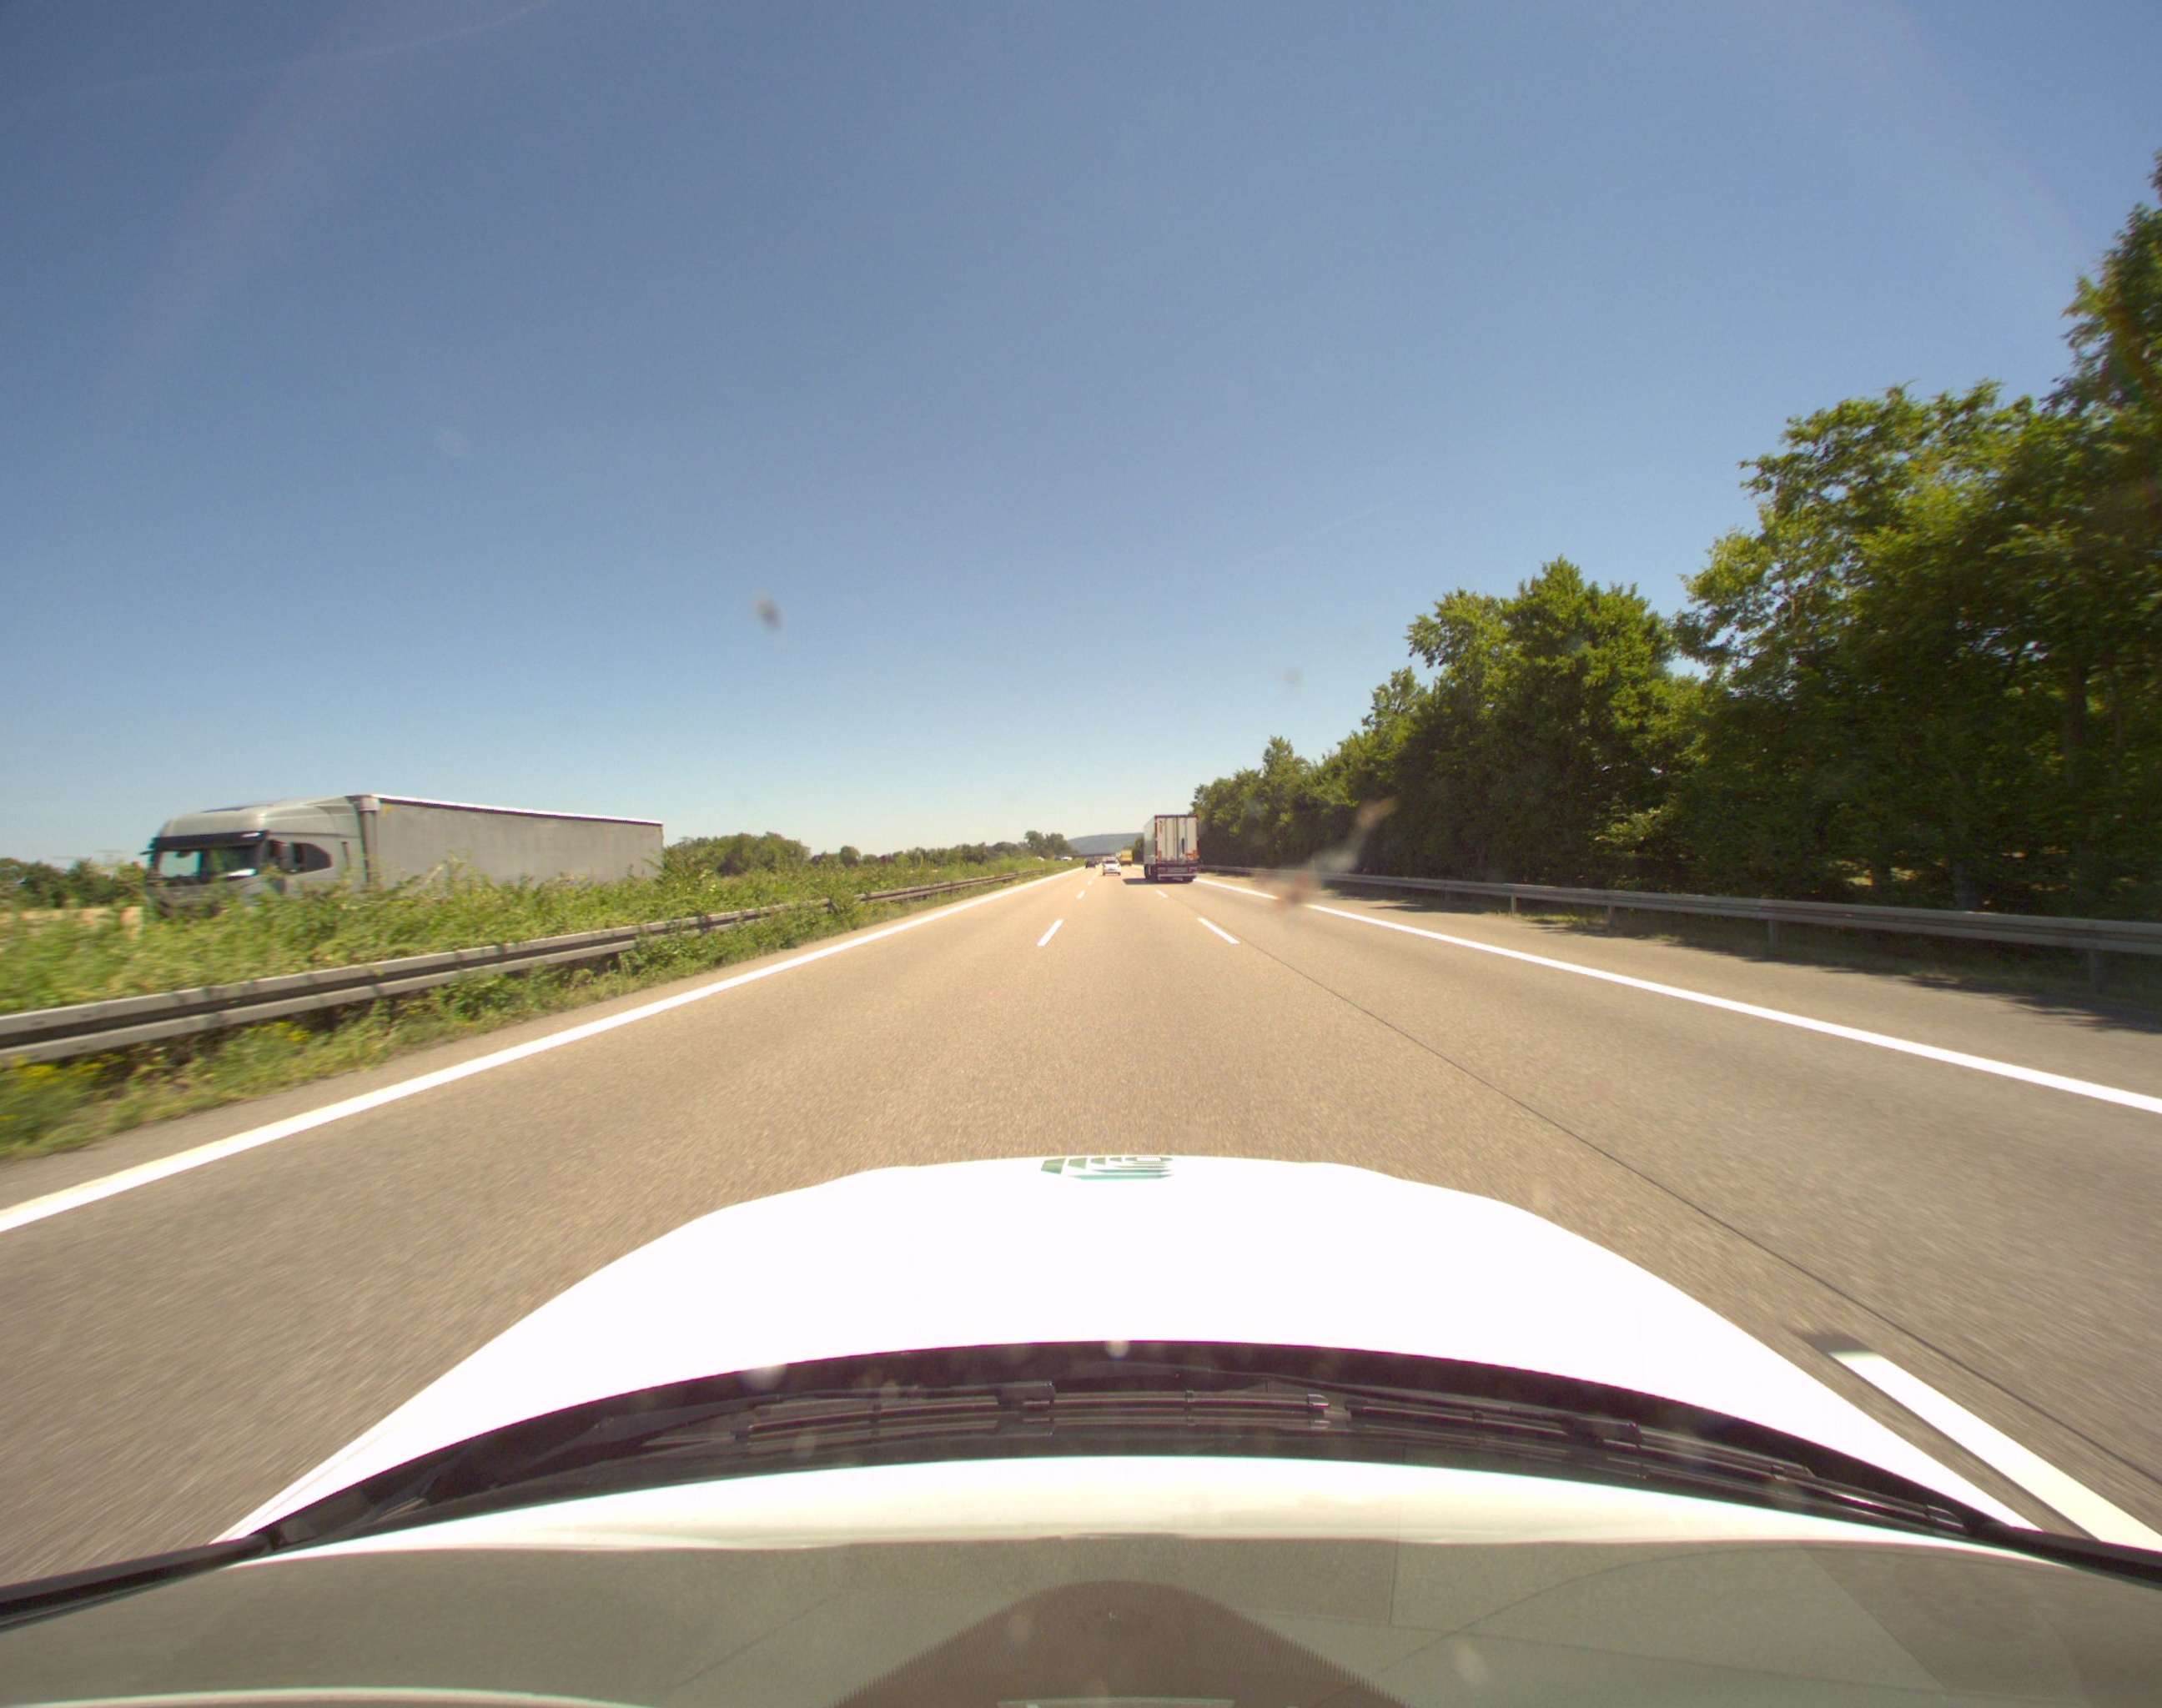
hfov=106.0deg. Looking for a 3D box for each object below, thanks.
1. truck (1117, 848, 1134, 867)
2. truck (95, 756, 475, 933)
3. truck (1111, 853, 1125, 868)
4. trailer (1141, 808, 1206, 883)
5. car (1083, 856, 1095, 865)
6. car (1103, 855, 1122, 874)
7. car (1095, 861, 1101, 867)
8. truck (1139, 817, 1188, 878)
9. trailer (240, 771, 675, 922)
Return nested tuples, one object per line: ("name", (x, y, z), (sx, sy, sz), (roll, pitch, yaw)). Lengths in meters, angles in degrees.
("truck", (10.670, 0.891, 195.528), (3.856, 4.345, 13.867), (0, 0, 2))
("truck", (-18.879, -0.189, 20.045), (3.338, 3.698, 6.064), (0, 0, 0))
("truck", (11.539, 2.105, 254.629), (4.255, 4.652, 13.866), (-1, -1, 2))
("trailer", (5.893, -0.472, 54.300), (3.206, 4.345, 13.634), (0, 0, 2))
("car", (1.455, 1.200, 148.803), (1.986, 1.712, 4.001), (0, 0, 1))
("car", (2.957, 1.010, 77.849), (1.726, 1.684, 4.001), (-2, 0, 1))
("car", (4.880, 2.959, 235.247), (1.788, 1.551, 4.002), (-1, -1, 2))
("truck", (6.124, -0.445, 61.635), (3.206, 4.345, 6.593), (0, 0, 2))
("trailer", (-18.825, -0.162, 27.111), (3.338, 3.698, 14.381), (0, 0, 0))
